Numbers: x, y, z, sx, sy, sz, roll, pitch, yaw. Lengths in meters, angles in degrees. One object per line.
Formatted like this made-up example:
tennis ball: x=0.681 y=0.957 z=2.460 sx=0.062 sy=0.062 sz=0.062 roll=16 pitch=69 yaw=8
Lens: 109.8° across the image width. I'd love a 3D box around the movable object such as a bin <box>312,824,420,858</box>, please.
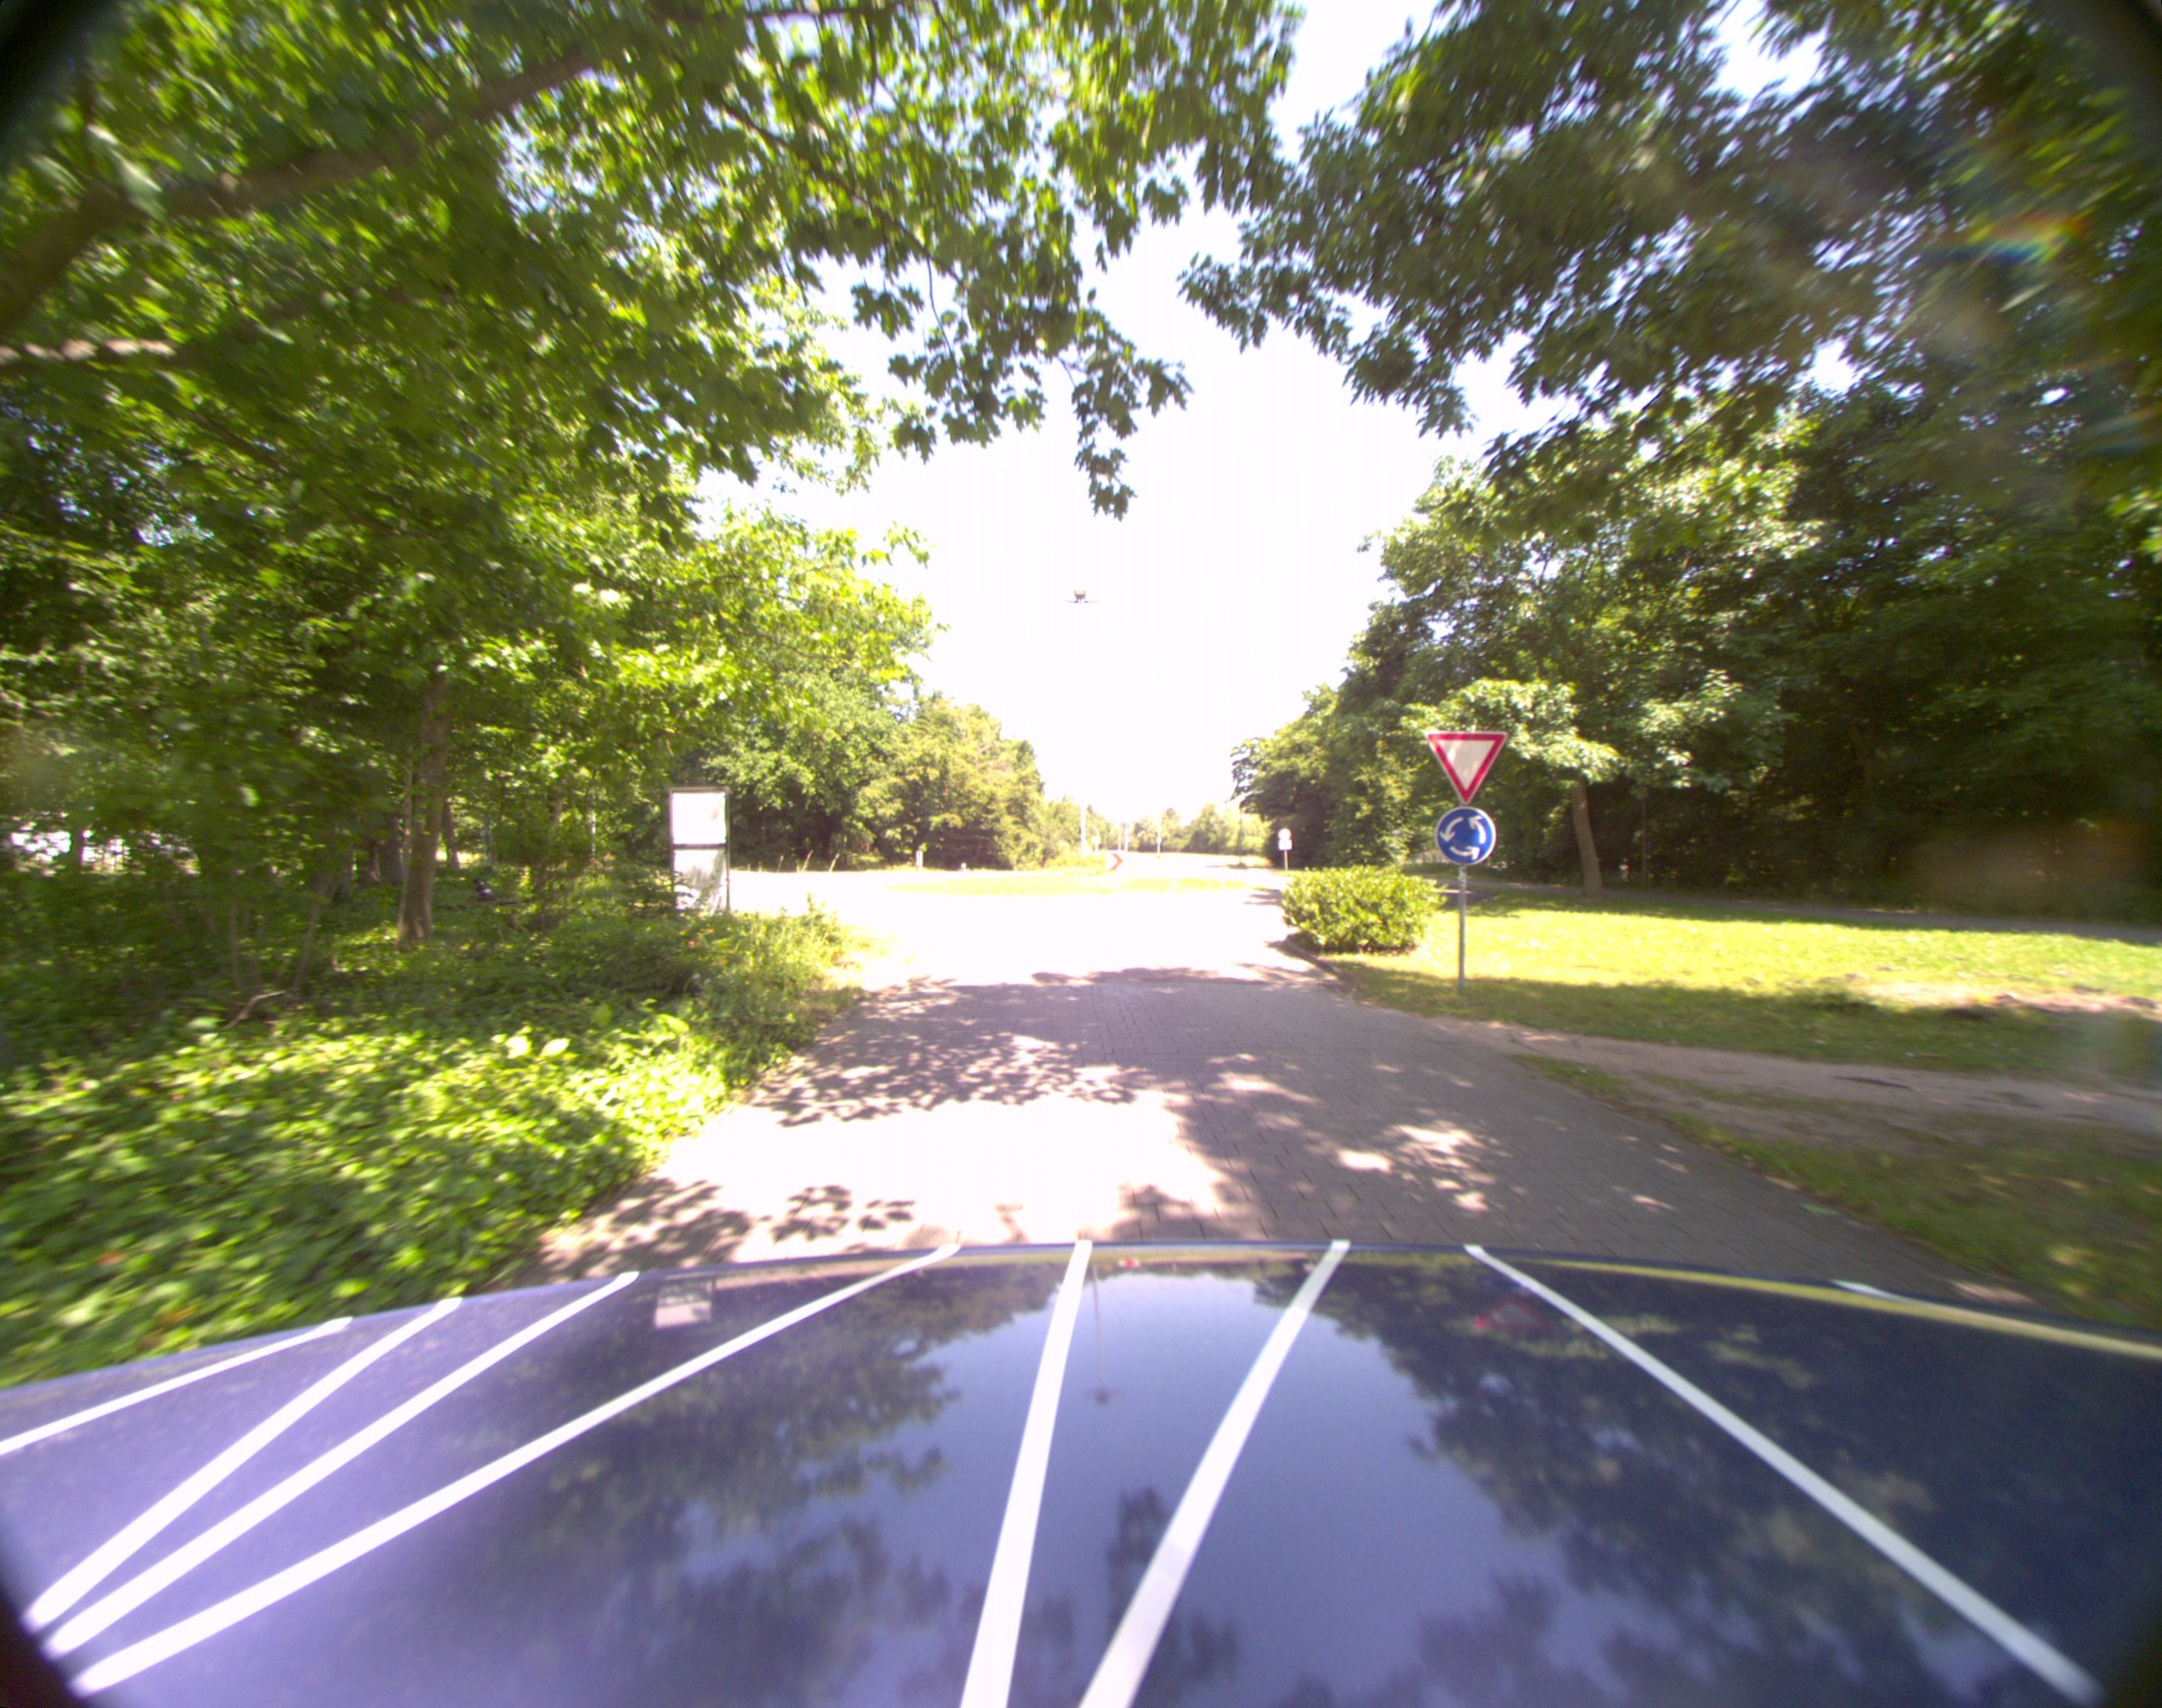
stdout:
movable object such as a bin: x=-49.605 y=-0.882 z=52.800 sx=5.234 sy=2.263 sz=2.523 roll=0 pitch=1 yaw=3
